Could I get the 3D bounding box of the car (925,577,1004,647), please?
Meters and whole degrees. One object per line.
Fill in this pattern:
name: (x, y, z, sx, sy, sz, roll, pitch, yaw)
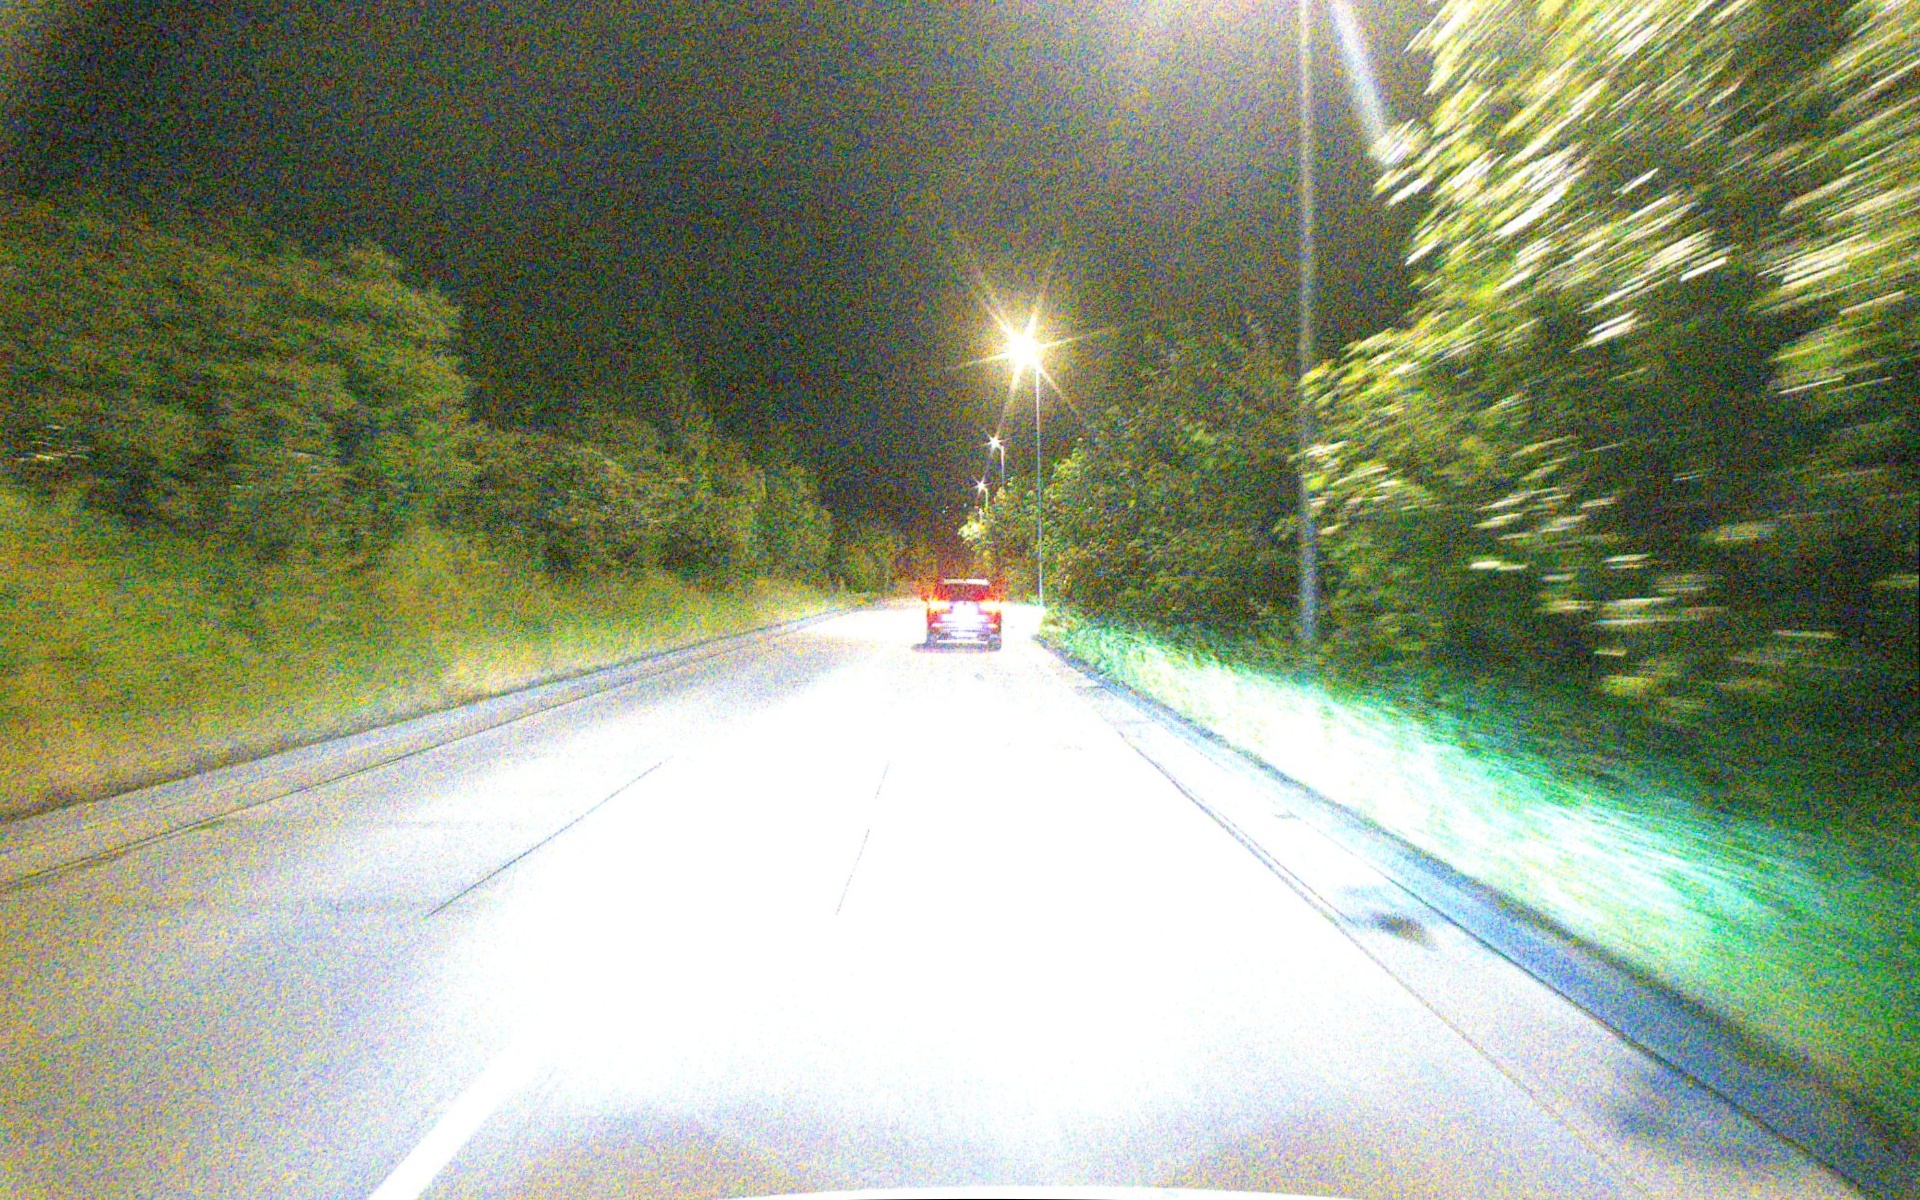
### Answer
car: (0.061, 0.252, 39.729, 1.778, 1.601, 3.942, 0, 1, -2)
